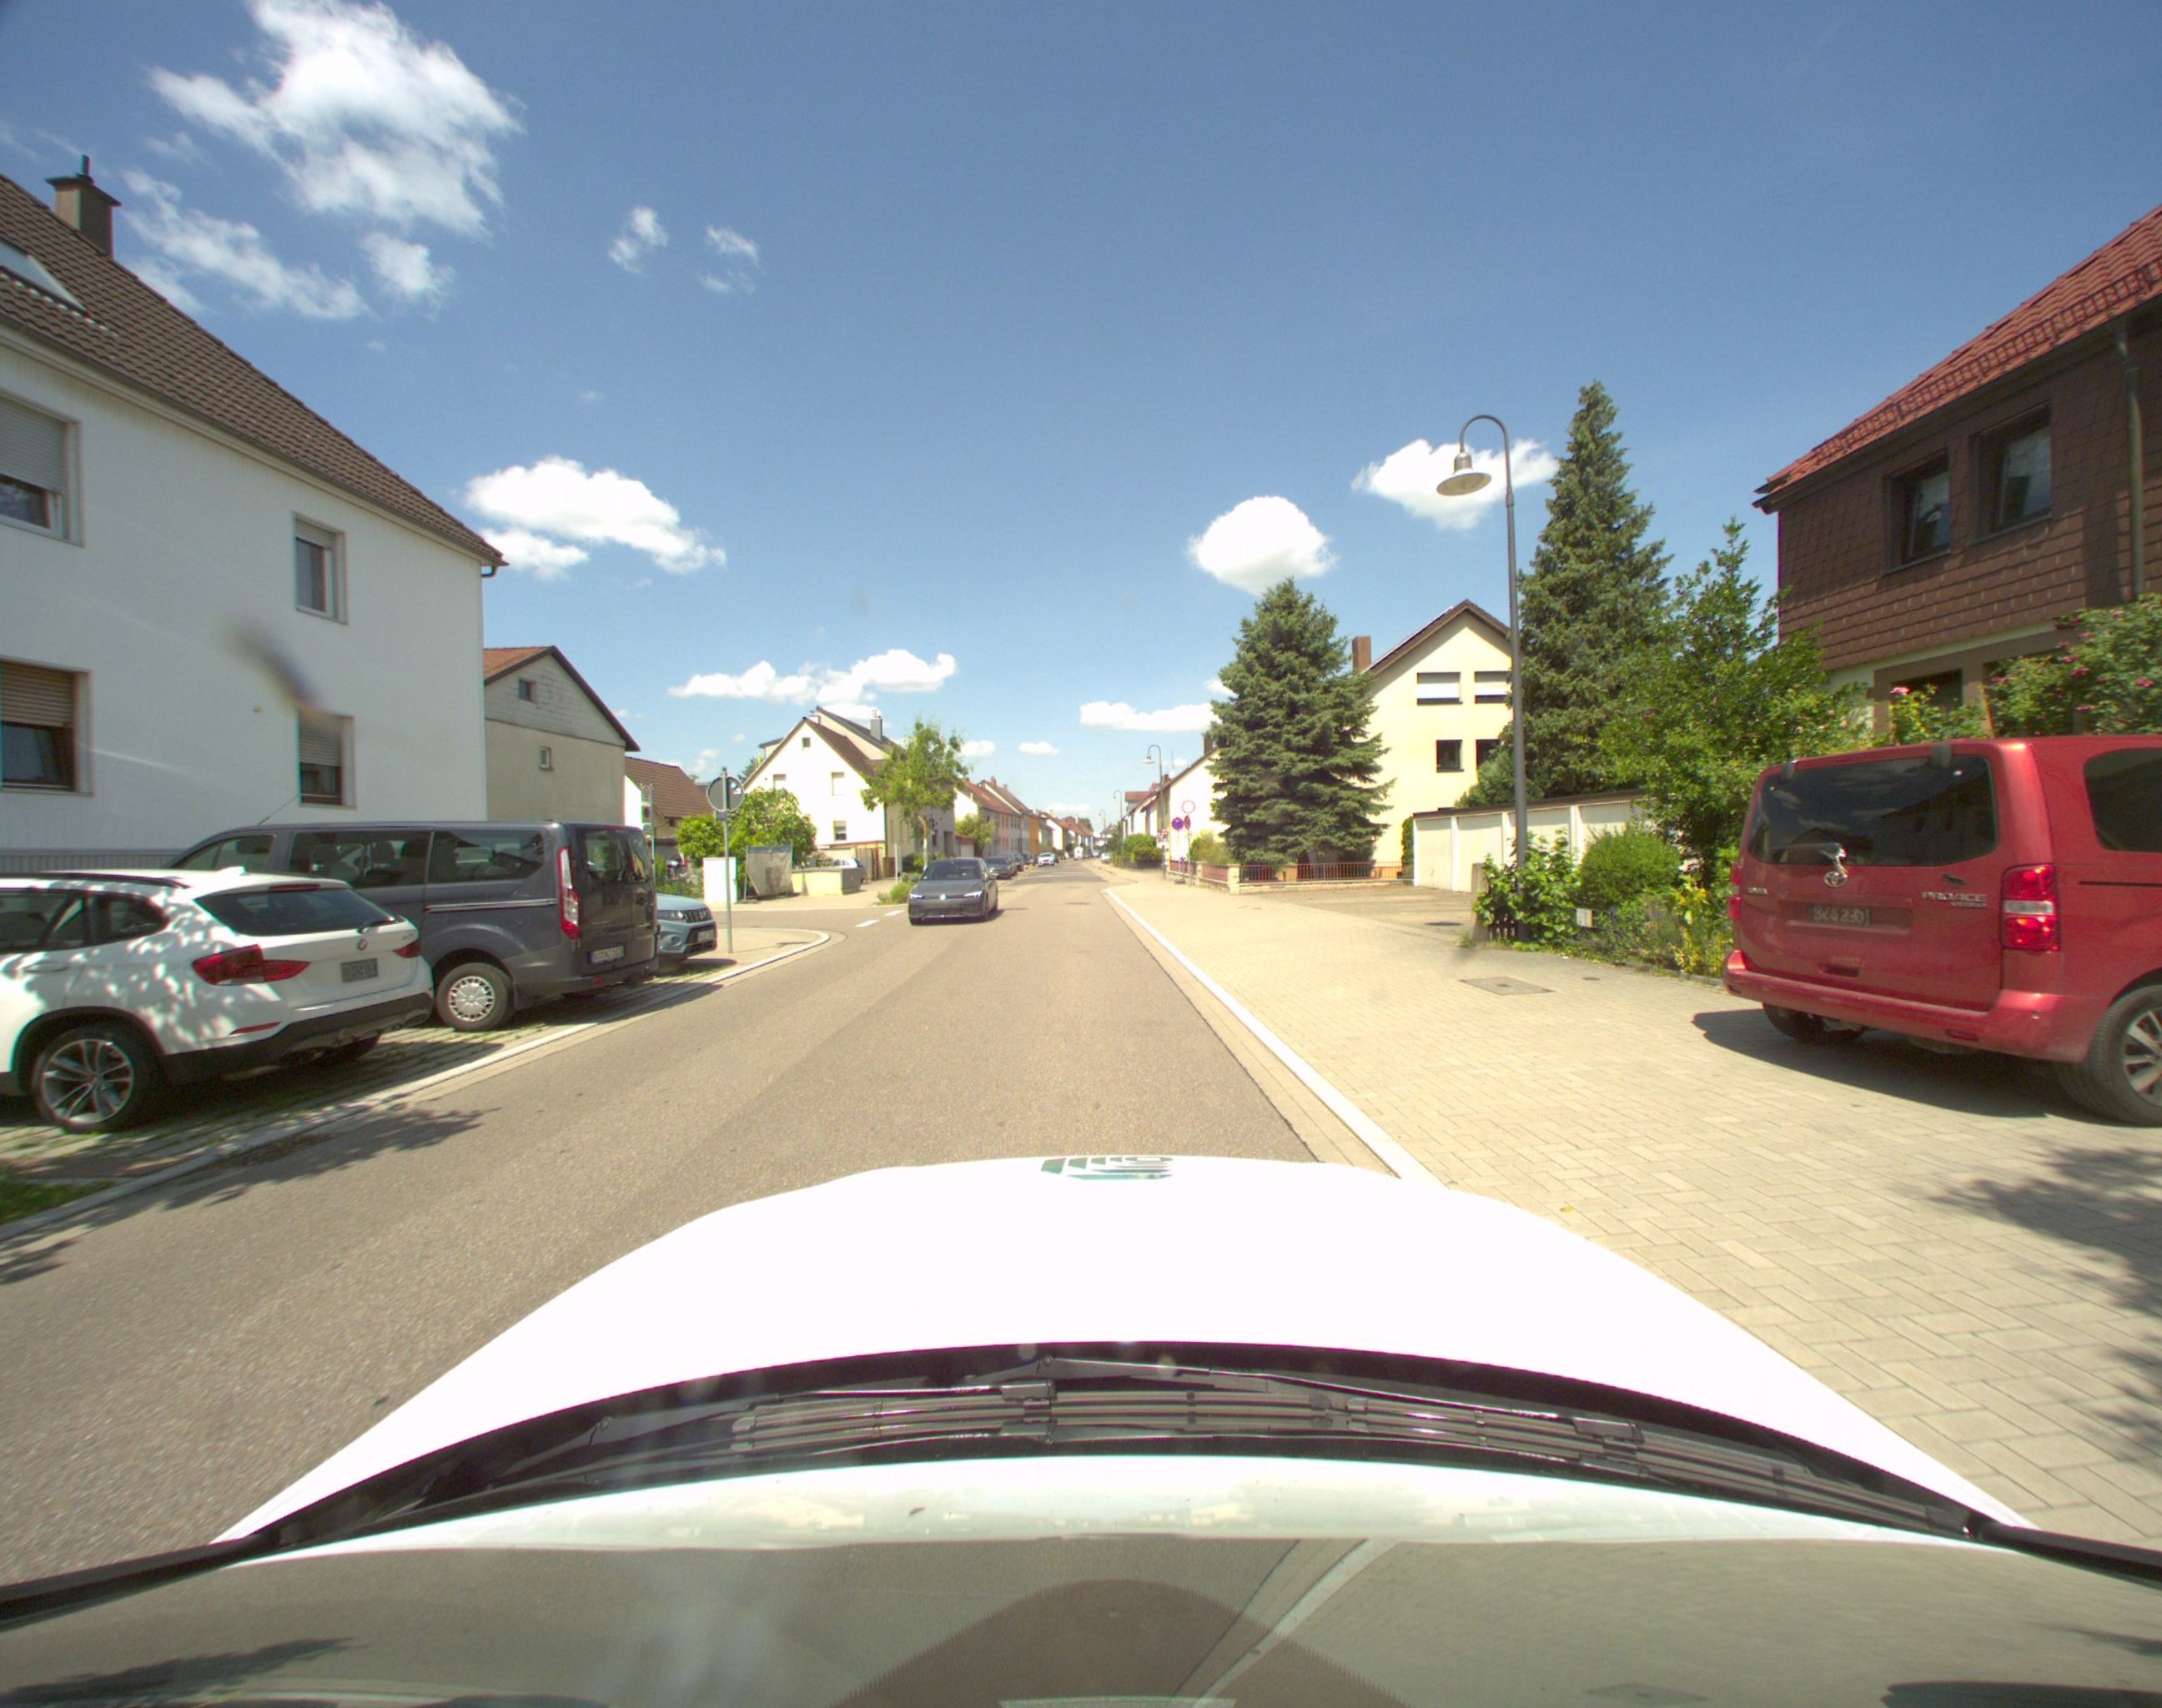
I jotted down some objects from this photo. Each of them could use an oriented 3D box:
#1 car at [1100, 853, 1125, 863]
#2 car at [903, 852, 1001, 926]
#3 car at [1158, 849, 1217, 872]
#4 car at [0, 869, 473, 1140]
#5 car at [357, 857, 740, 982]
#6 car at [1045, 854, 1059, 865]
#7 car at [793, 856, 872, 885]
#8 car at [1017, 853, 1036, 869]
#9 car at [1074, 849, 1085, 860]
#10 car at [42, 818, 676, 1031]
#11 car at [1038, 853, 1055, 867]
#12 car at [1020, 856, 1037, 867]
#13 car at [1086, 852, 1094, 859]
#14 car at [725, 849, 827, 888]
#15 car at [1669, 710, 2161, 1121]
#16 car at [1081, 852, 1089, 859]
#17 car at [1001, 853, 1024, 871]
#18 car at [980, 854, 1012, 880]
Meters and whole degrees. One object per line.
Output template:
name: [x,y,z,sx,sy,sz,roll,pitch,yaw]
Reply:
car: [4.561,0.606,118.369,3.512,1.464,1.628,0,-1,-1]
car: [-3.030,0.765,19.903,1.758,1.523,4.046,-3,0,-2]
car: [7.603,0.455,58.264,3.975,1.473,1.746,-2,0,-1]
car: [-7.003,0.894,5.599,4.175,1.569,1.771,0,-1,-5]
car: [-7.293,0.855,11.494,4.163,1.619,1.771,0,-1,-1]
car: [-4.405,0.851,123.380,1.842,1.659,4.002,1,0,2]
car: [-12.933,0.836,42.436,3.509,1.471,1.793,0,0,3]
car: [-5.921,0.751,89.190,1.805,1.609,3.999,1,0,0]
car: [-0.280,0.205,172.086,2.036,2.312,3.774,0,-1,3]
car: [-7.020,0.647,8.376,4.686,1.923,1.937,0,-1,-1]
car: [-4.304,0.760,102.370,1.842,1.659,4.002,1,0,2]
car: [-6.494,0.938,101.349,1.666,1.336,3.724,1,0,2]
car: [2.204,0.391,201.855,1.684,1.660,3.774,0,-1,3]
car: [-14.215,0.659,38.149,3.973,1.800,2.000,0,0,0]
car: [6.517,0.286,4.873,4.607,1.893,2.019,0,-1,-2]
car: [0.931,0.316,194.361,1.684,1.504,3.774,0,-1,3]
car: [-6.225,0.685,74.405,1.773,1.609,3.999,1,0,0]
car: [-5.535,0.832,53.438,1.812,1.433,4.135,2,1,-3]
